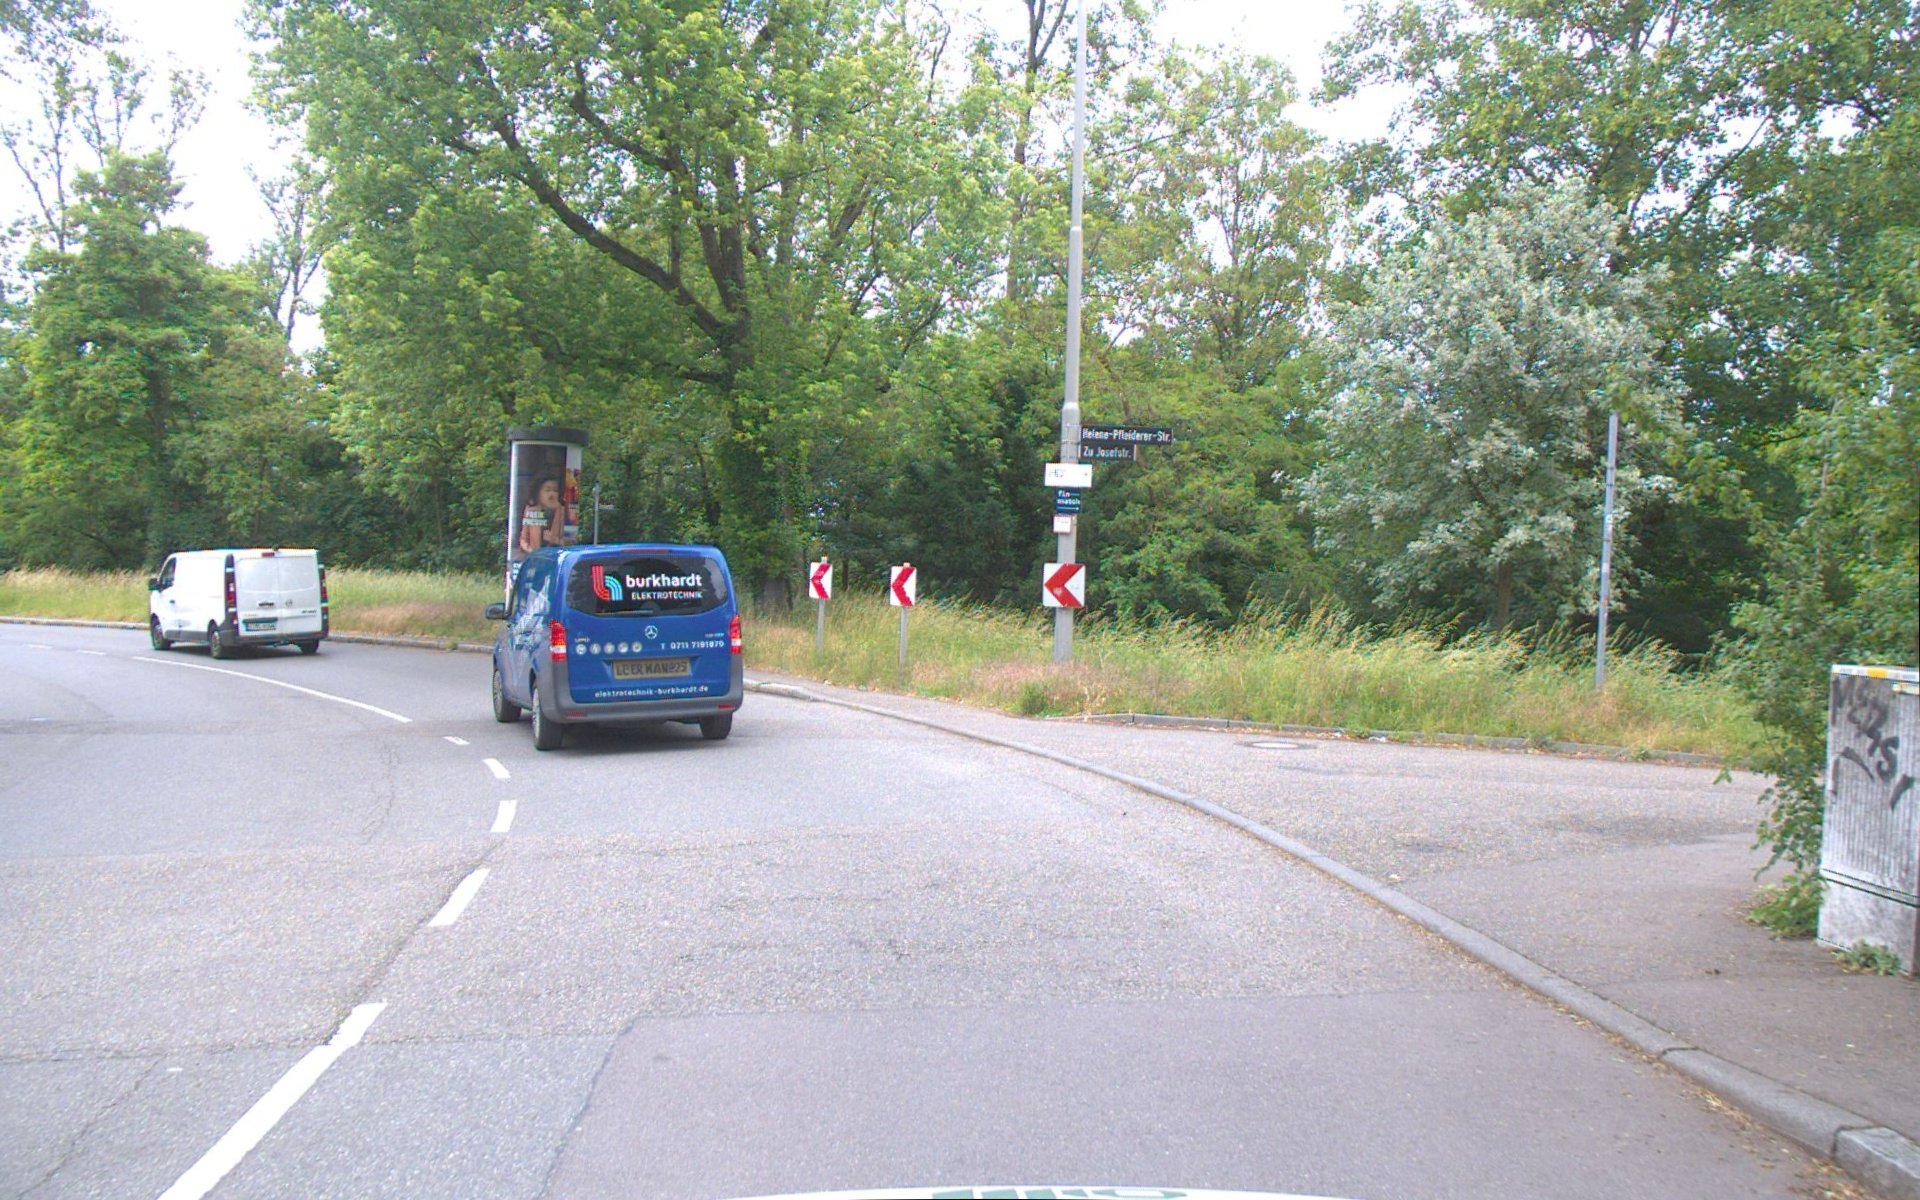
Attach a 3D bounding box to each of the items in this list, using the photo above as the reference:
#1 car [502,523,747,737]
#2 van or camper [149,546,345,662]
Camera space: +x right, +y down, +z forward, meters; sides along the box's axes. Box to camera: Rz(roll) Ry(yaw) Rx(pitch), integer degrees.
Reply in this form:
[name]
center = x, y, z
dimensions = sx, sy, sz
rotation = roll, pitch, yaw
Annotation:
[car]
center = -3.537, 0.260, 16.807
dimensions = 1.885, 1.870, 4.269
rotation = 0, 0, -19
[van or camper]
center = -13.698, -0.005, 31.613
dimensions = 2.009, 1.990, 4.822
rotation = -3, 3, -41
